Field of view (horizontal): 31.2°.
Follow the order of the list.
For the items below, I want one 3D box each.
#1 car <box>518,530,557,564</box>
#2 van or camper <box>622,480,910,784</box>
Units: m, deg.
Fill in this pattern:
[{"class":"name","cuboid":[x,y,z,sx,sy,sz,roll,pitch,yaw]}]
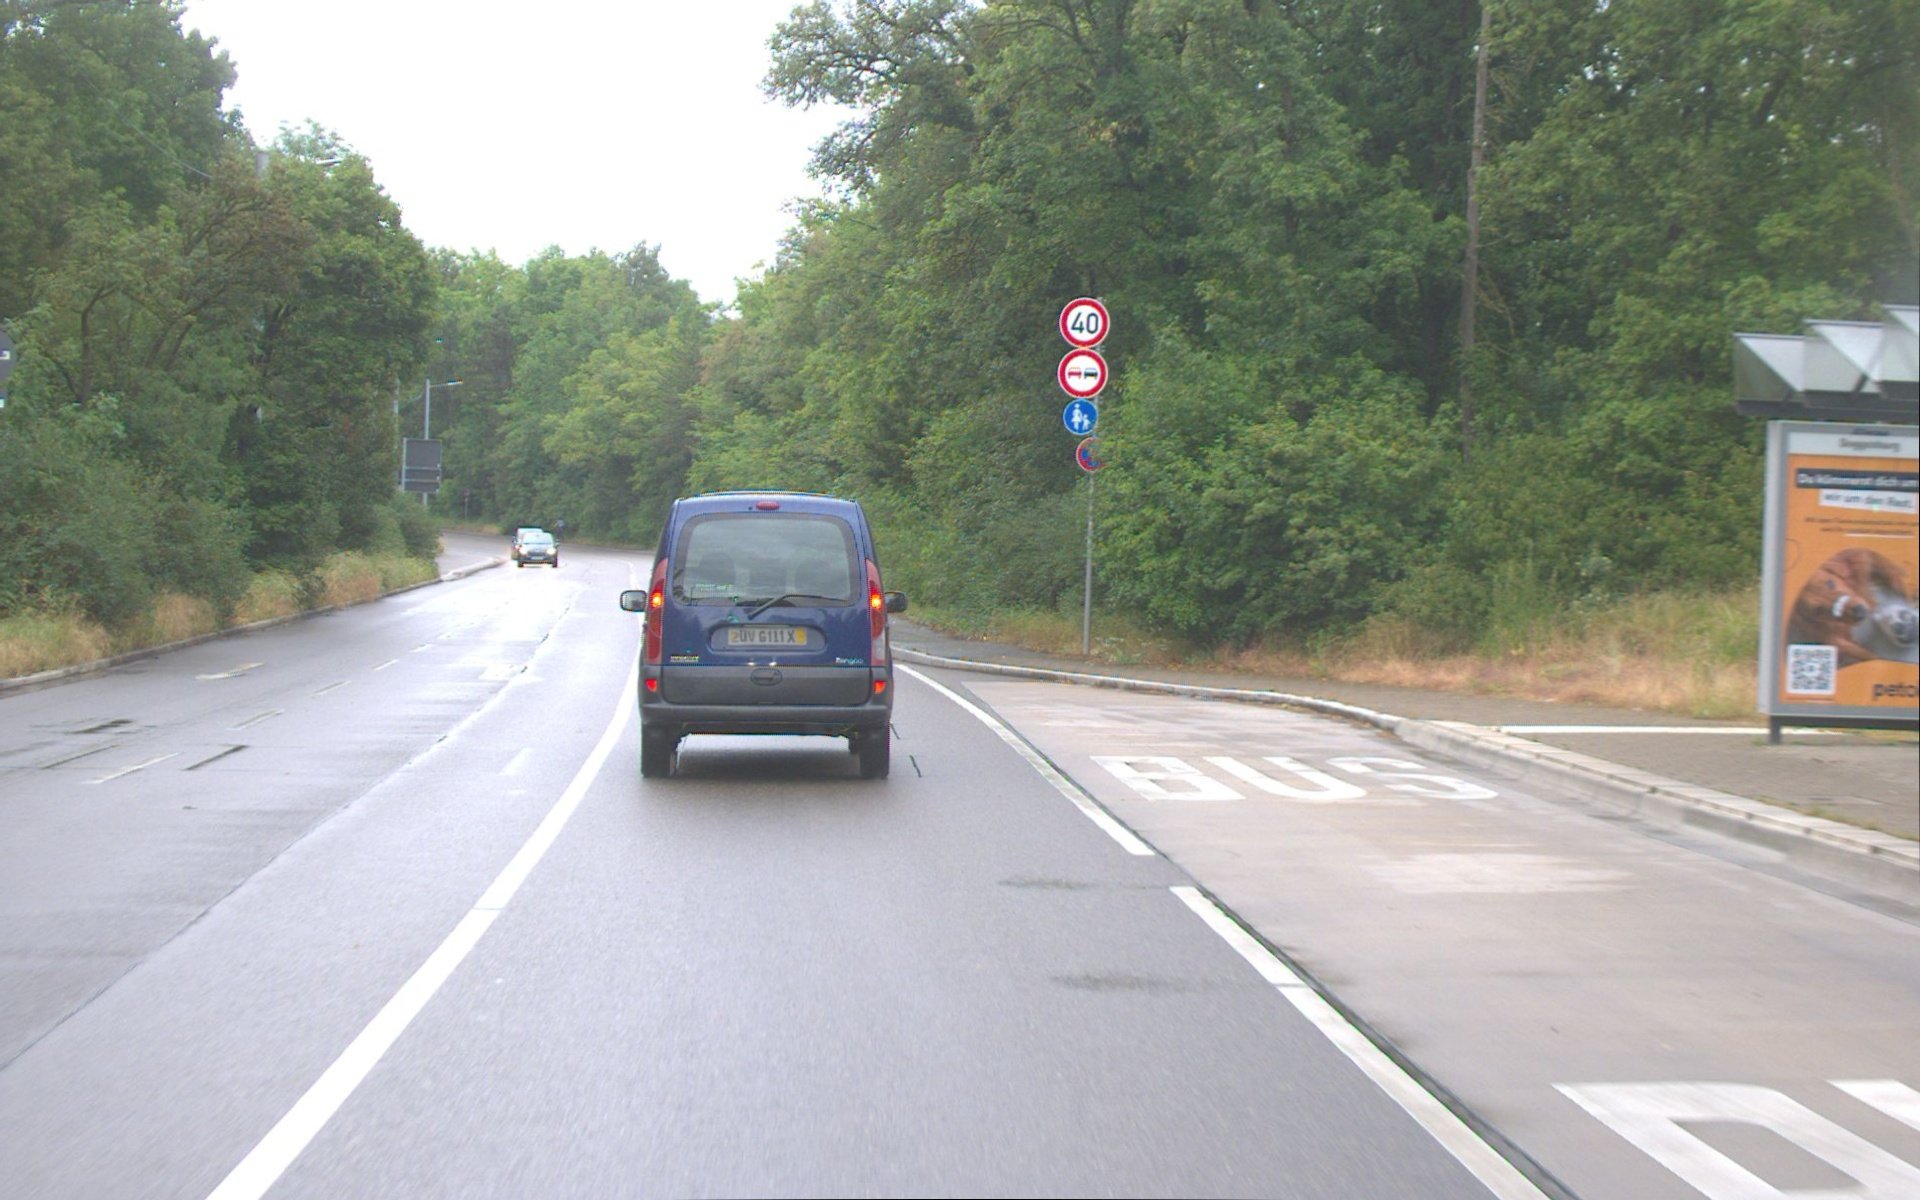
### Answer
[{"class":"car","cuboid":[-18.081,-2.279,147.328,1.598,1.436,3.992,0,1,-6]},{"class":"van or camper","cuboid":[-1.354,0.204,23.260,1.712,1.820,4.000,2,0,-4]}]
